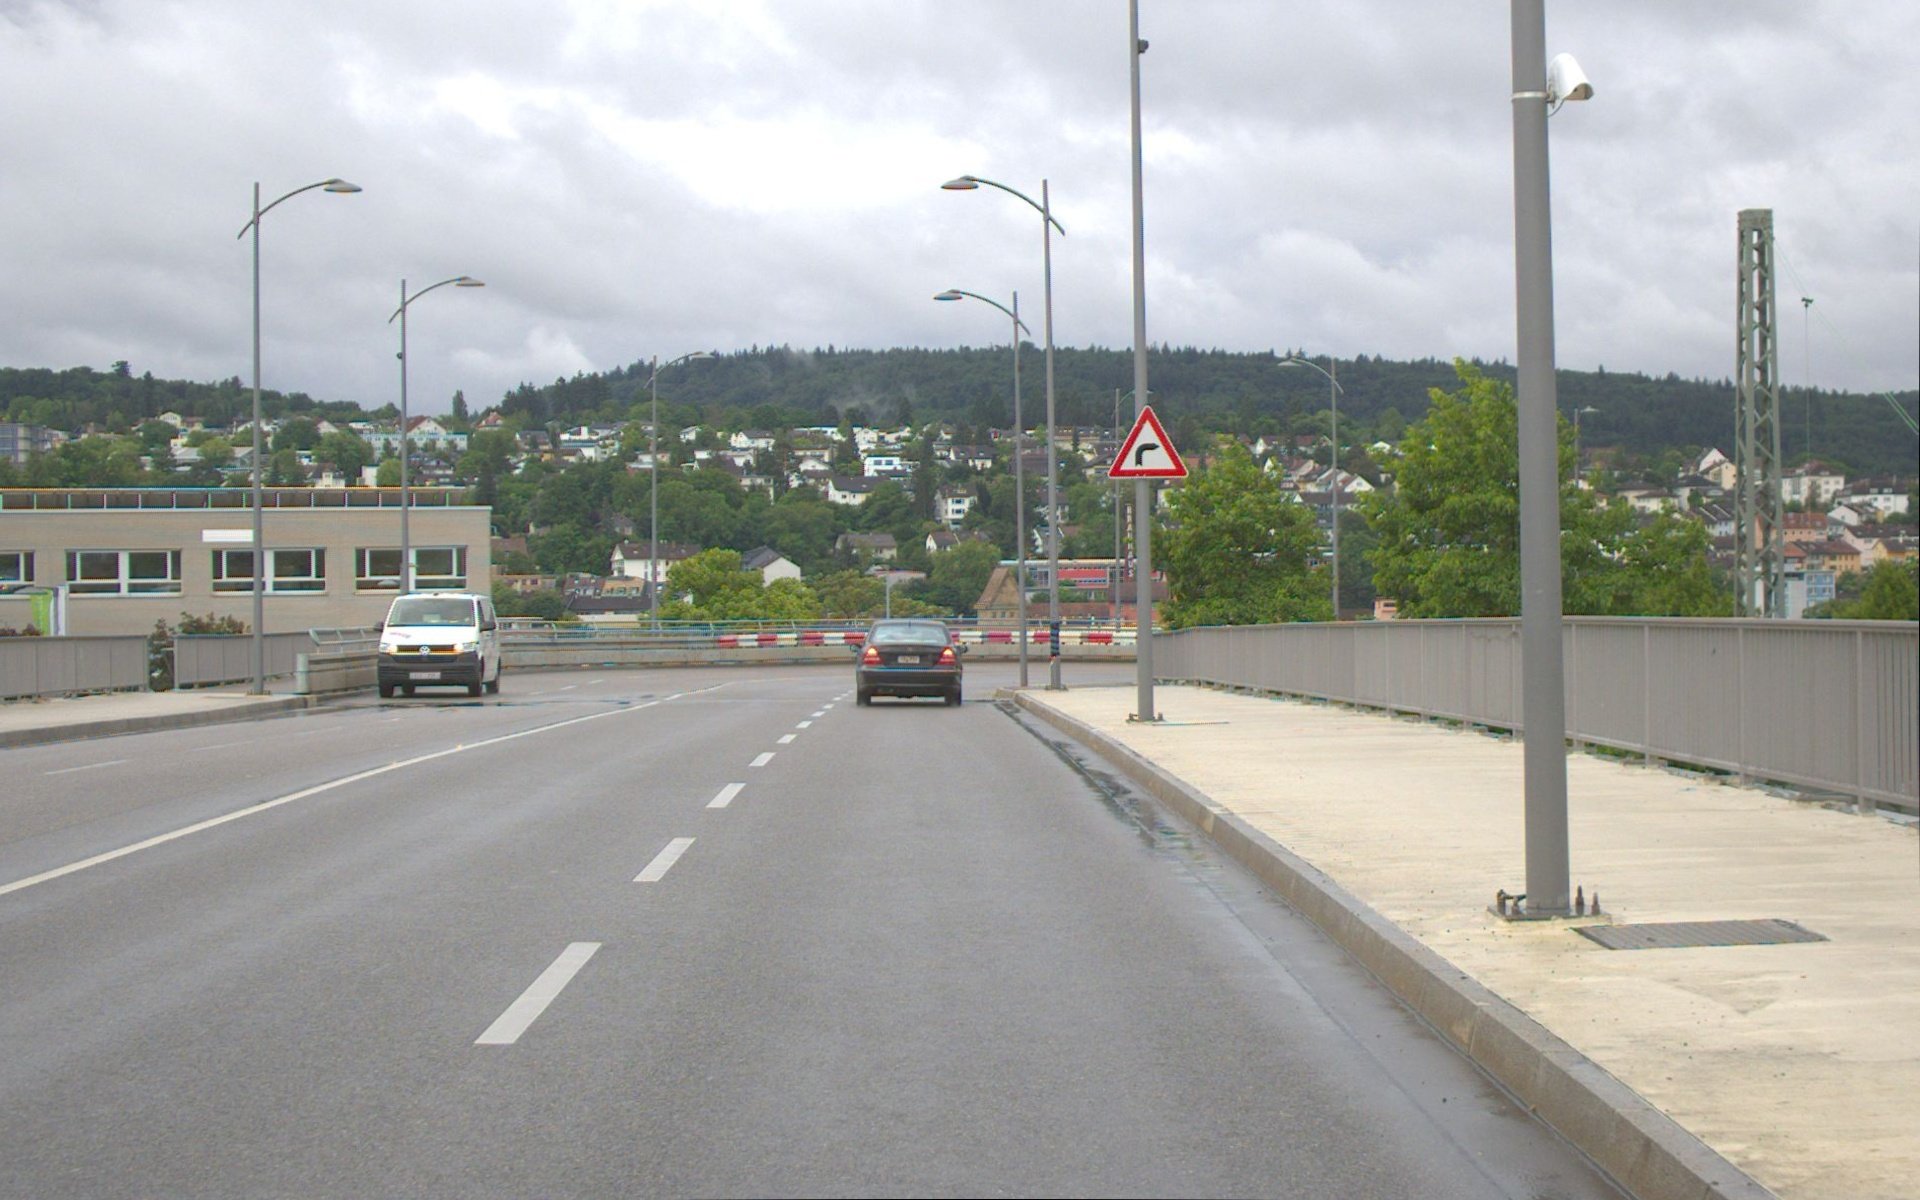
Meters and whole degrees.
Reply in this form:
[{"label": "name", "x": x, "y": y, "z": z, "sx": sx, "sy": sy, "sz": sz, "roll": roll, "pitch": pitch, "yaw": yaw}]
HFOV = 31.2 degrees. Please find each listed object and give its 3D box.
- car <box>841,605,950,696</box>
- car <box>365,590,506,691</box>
[{"label": "car", "x": -1.049, "y": 0.815, "z": 56.158, "sx": 1.706, "sy": 1.415, "sz": 3.725, "roll": 1, "pitch": -1, "yaw": -1}, {"label": "car", "x": -9.850, "y": 0.776, "z": 64.940, "sx": 1.886, "sy": 1.816, "sz": 4.958, "roll": 1, "pitch": -1, "yaw": 0}]
